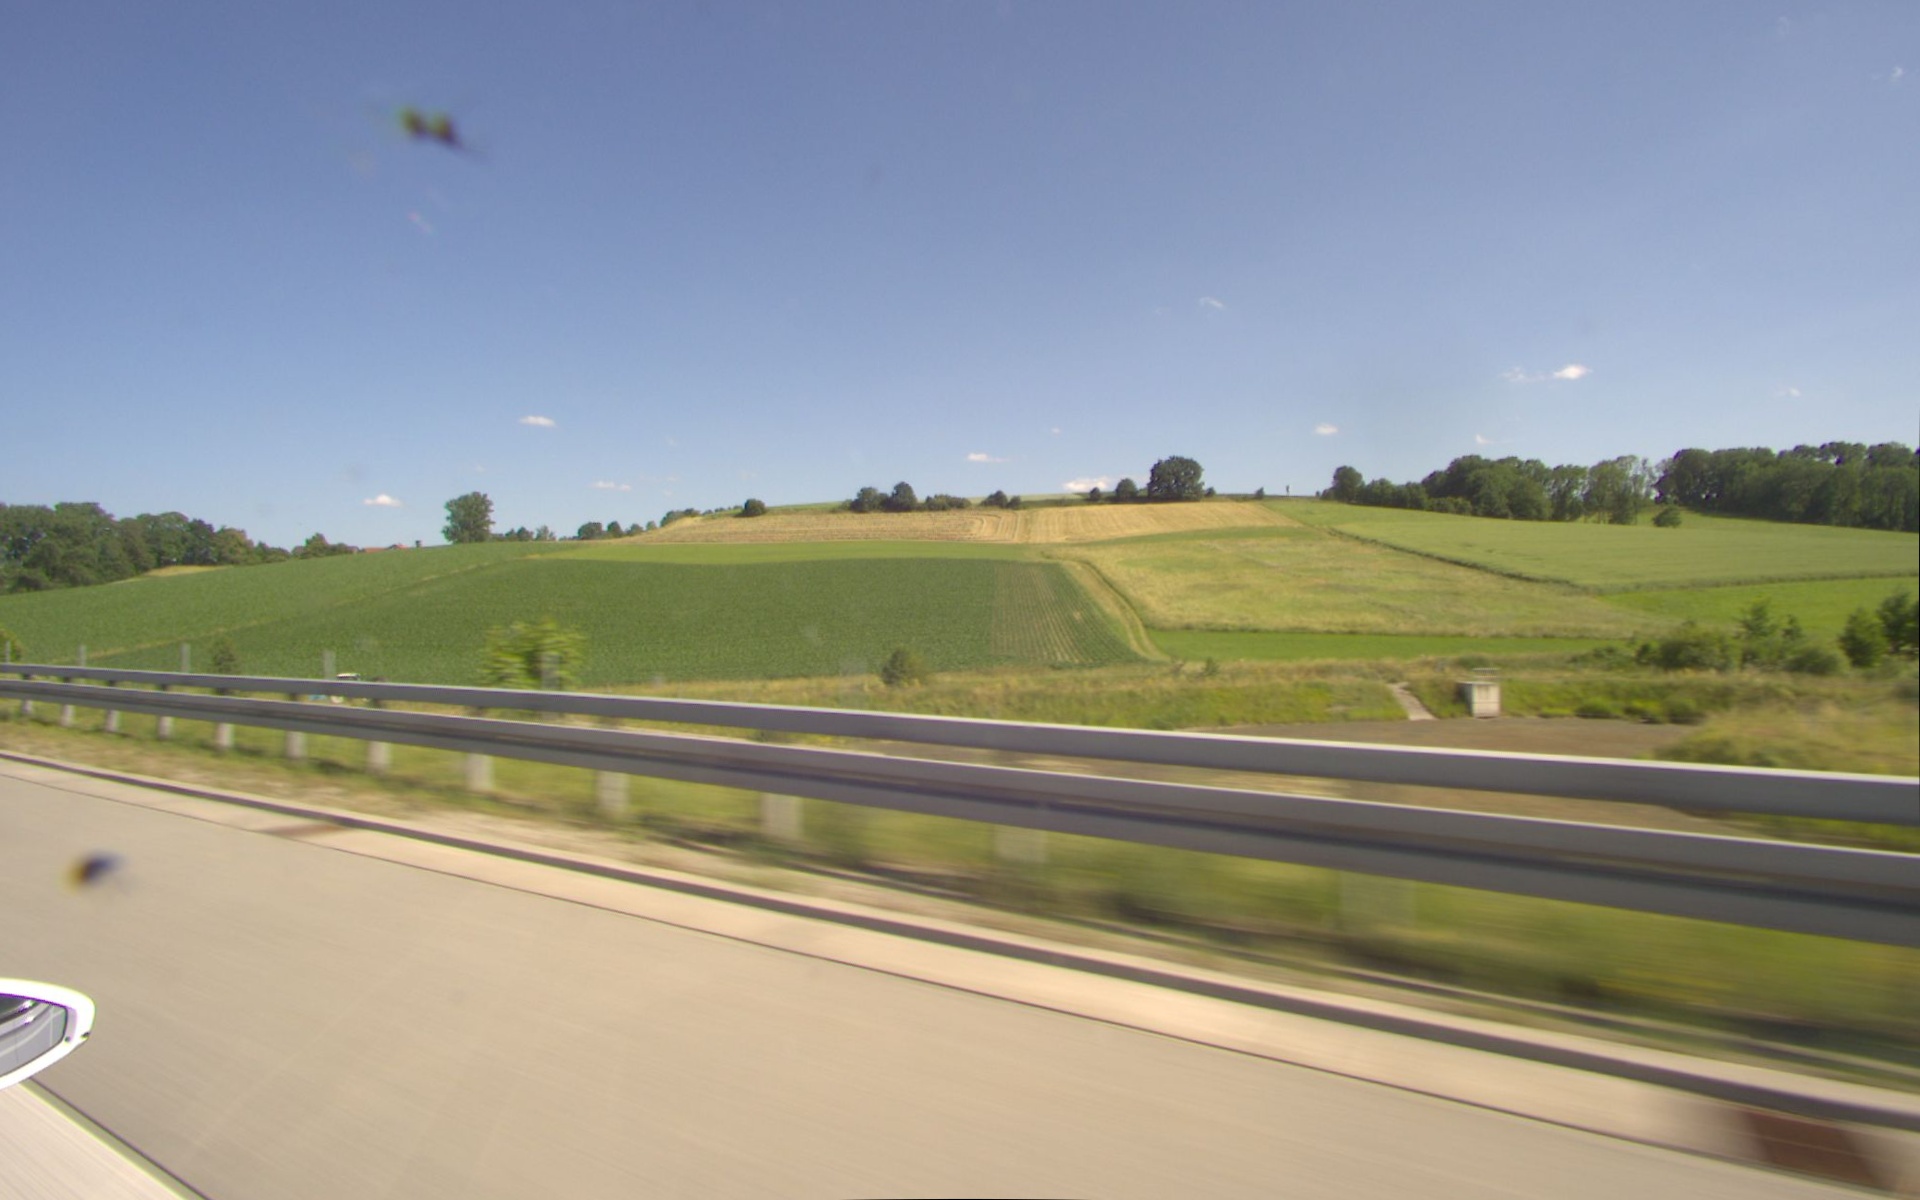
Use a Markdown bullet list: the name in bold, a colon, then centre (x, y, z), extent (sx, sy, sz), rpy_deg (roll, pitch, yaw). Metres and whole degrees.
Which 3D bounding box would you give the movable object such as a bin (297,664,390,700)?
- **movable object such as a bin**: centre (-53.076, 7.047, 86.364), extent (6.122, 2.805, 3.282), rpy_deg (0, -2, -17)
